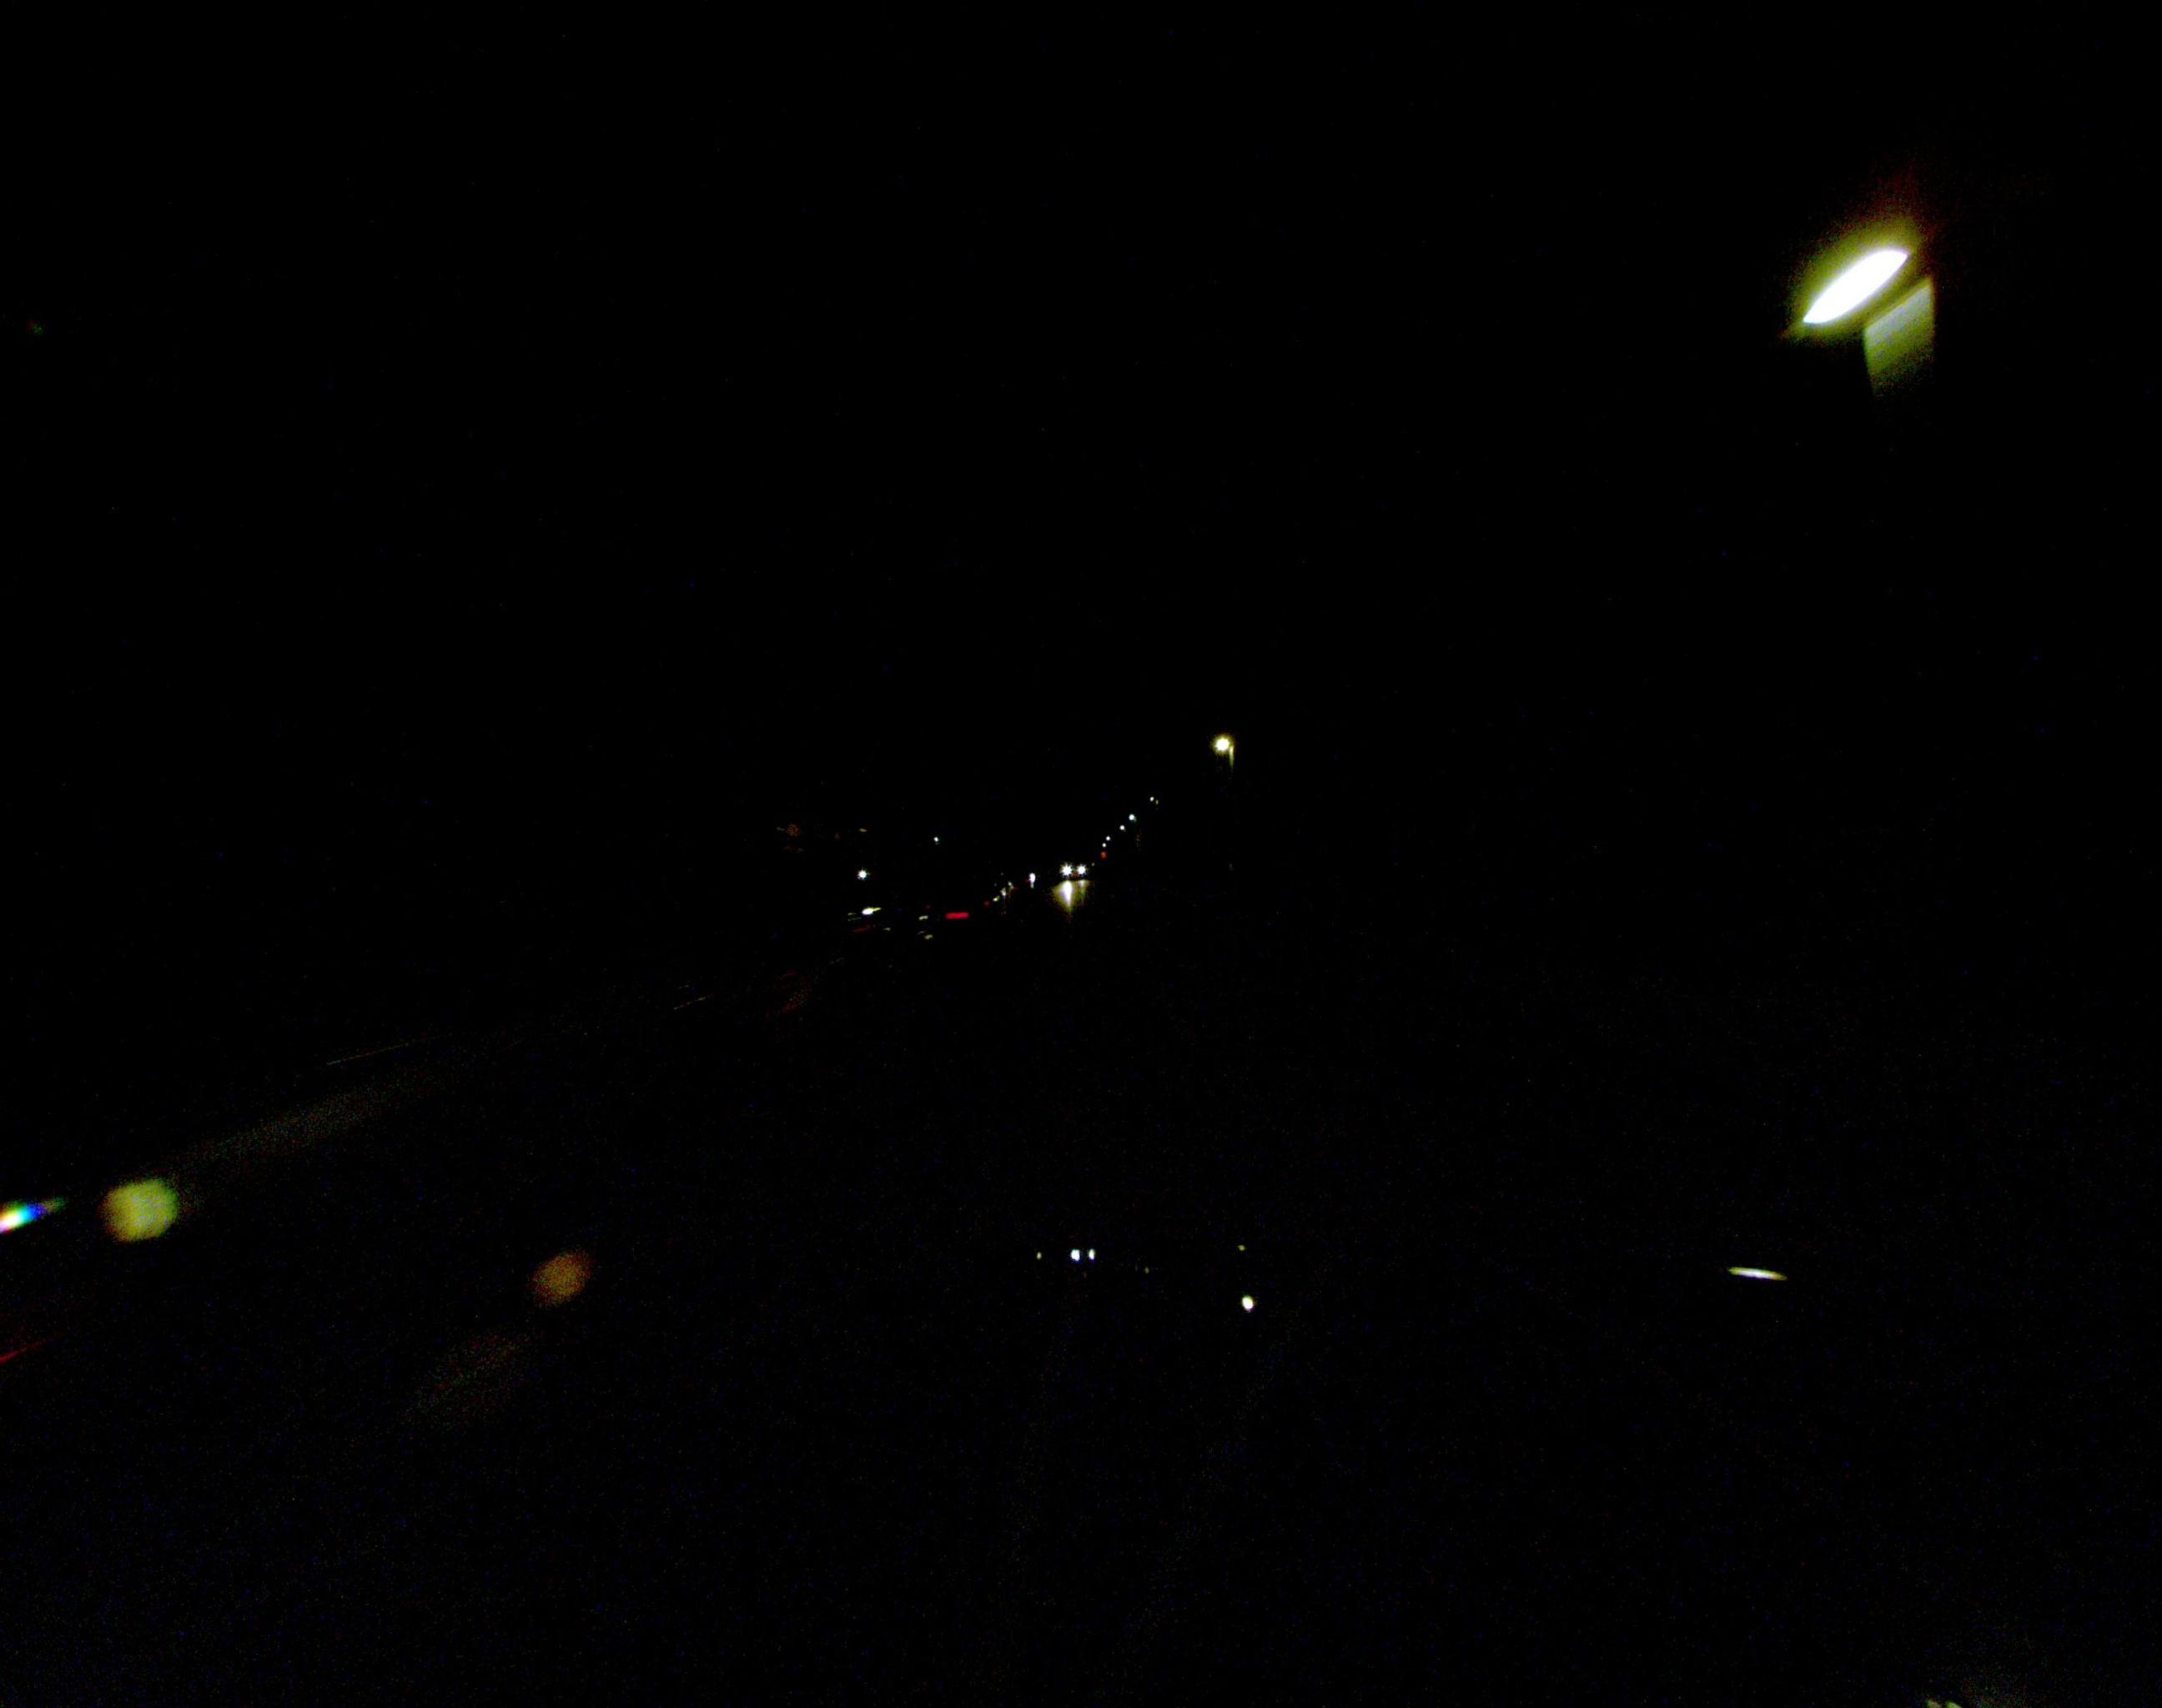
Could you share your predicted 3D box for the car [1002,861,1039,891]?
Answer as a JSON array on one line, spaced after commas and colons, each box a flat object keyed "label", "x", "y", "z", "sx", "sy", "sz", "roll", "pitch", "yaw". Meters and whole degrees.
[{"label": "car", "x": -3.156, "y": 1.125, "z": 40.178, "sx": 1.604, "sy": 1.390, "sz": 3.517, "roll": -3, "pitch": 0, "yaw": 0}]

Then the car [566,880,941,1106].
[{"label": "car", "x": -2.891, "y": 1.135, "z": 8.015, "sx": 1.680, "sy": 1.439, "sz": 4.612, "roll": -3, "pitch": 0, "yaw": 3}]

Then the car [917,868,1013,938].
[{"label": "car", "x": -2.808, "y": 1.146, "z": 19.317, "sx": 1.766, "sy": 1.407, "sz": 4.439, "roll": -3, "pitch": 0, "yaw": -1}]

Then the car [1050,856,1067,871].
[{"label": "car", "x": -2.425, "y": 0.987, "z": 81.888, "sx": 1.702, "sy": 1.447, "sz": 3.713, "roll": -3, "pitch": 0, "yaw": -1}]

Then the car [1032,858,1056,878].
[{"label": "car", "x": -2.835, "y": 1.065, "z": 58.839, "sx": 1.656, "sy": 1.465, "sz": 3.517, "roll": -3, "pitch": 0, "yaw": -1}]

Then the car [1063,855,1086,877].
[{"label": "car", "x": -0.528, "y": 0.888, "z": 57.251, "sx": 1.627, "sy": 1.496, "sz": 3.549, "roll": -3, "pitch": 0, "yaw": -1}]

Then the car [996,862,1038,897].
[{"label": "car", "x": -2.898, "y": 1.128, "z": 34.993, "sx": 1.681, "sy": 1.439, "sz": 3.999, "roll": -2, "pitch": 0, "yaw": -2}]

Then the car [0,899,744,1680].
[{"label": "car", "x": -3.222, "y": 1.073, "z": 3.047, "sx": 1.784, "sy": 1.429, "sz": 4.289, "roll": -3, "pitch": 0, "yaw": -1}]

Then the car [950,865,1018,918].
[{"label": "car", "x": -3.069, "y": 1.151, "z": 24.669, "sx": 1.643, "sy": 1.458, "sz": 3.776, "roll": -3, "pitch": 0, "yaw": 0}]
